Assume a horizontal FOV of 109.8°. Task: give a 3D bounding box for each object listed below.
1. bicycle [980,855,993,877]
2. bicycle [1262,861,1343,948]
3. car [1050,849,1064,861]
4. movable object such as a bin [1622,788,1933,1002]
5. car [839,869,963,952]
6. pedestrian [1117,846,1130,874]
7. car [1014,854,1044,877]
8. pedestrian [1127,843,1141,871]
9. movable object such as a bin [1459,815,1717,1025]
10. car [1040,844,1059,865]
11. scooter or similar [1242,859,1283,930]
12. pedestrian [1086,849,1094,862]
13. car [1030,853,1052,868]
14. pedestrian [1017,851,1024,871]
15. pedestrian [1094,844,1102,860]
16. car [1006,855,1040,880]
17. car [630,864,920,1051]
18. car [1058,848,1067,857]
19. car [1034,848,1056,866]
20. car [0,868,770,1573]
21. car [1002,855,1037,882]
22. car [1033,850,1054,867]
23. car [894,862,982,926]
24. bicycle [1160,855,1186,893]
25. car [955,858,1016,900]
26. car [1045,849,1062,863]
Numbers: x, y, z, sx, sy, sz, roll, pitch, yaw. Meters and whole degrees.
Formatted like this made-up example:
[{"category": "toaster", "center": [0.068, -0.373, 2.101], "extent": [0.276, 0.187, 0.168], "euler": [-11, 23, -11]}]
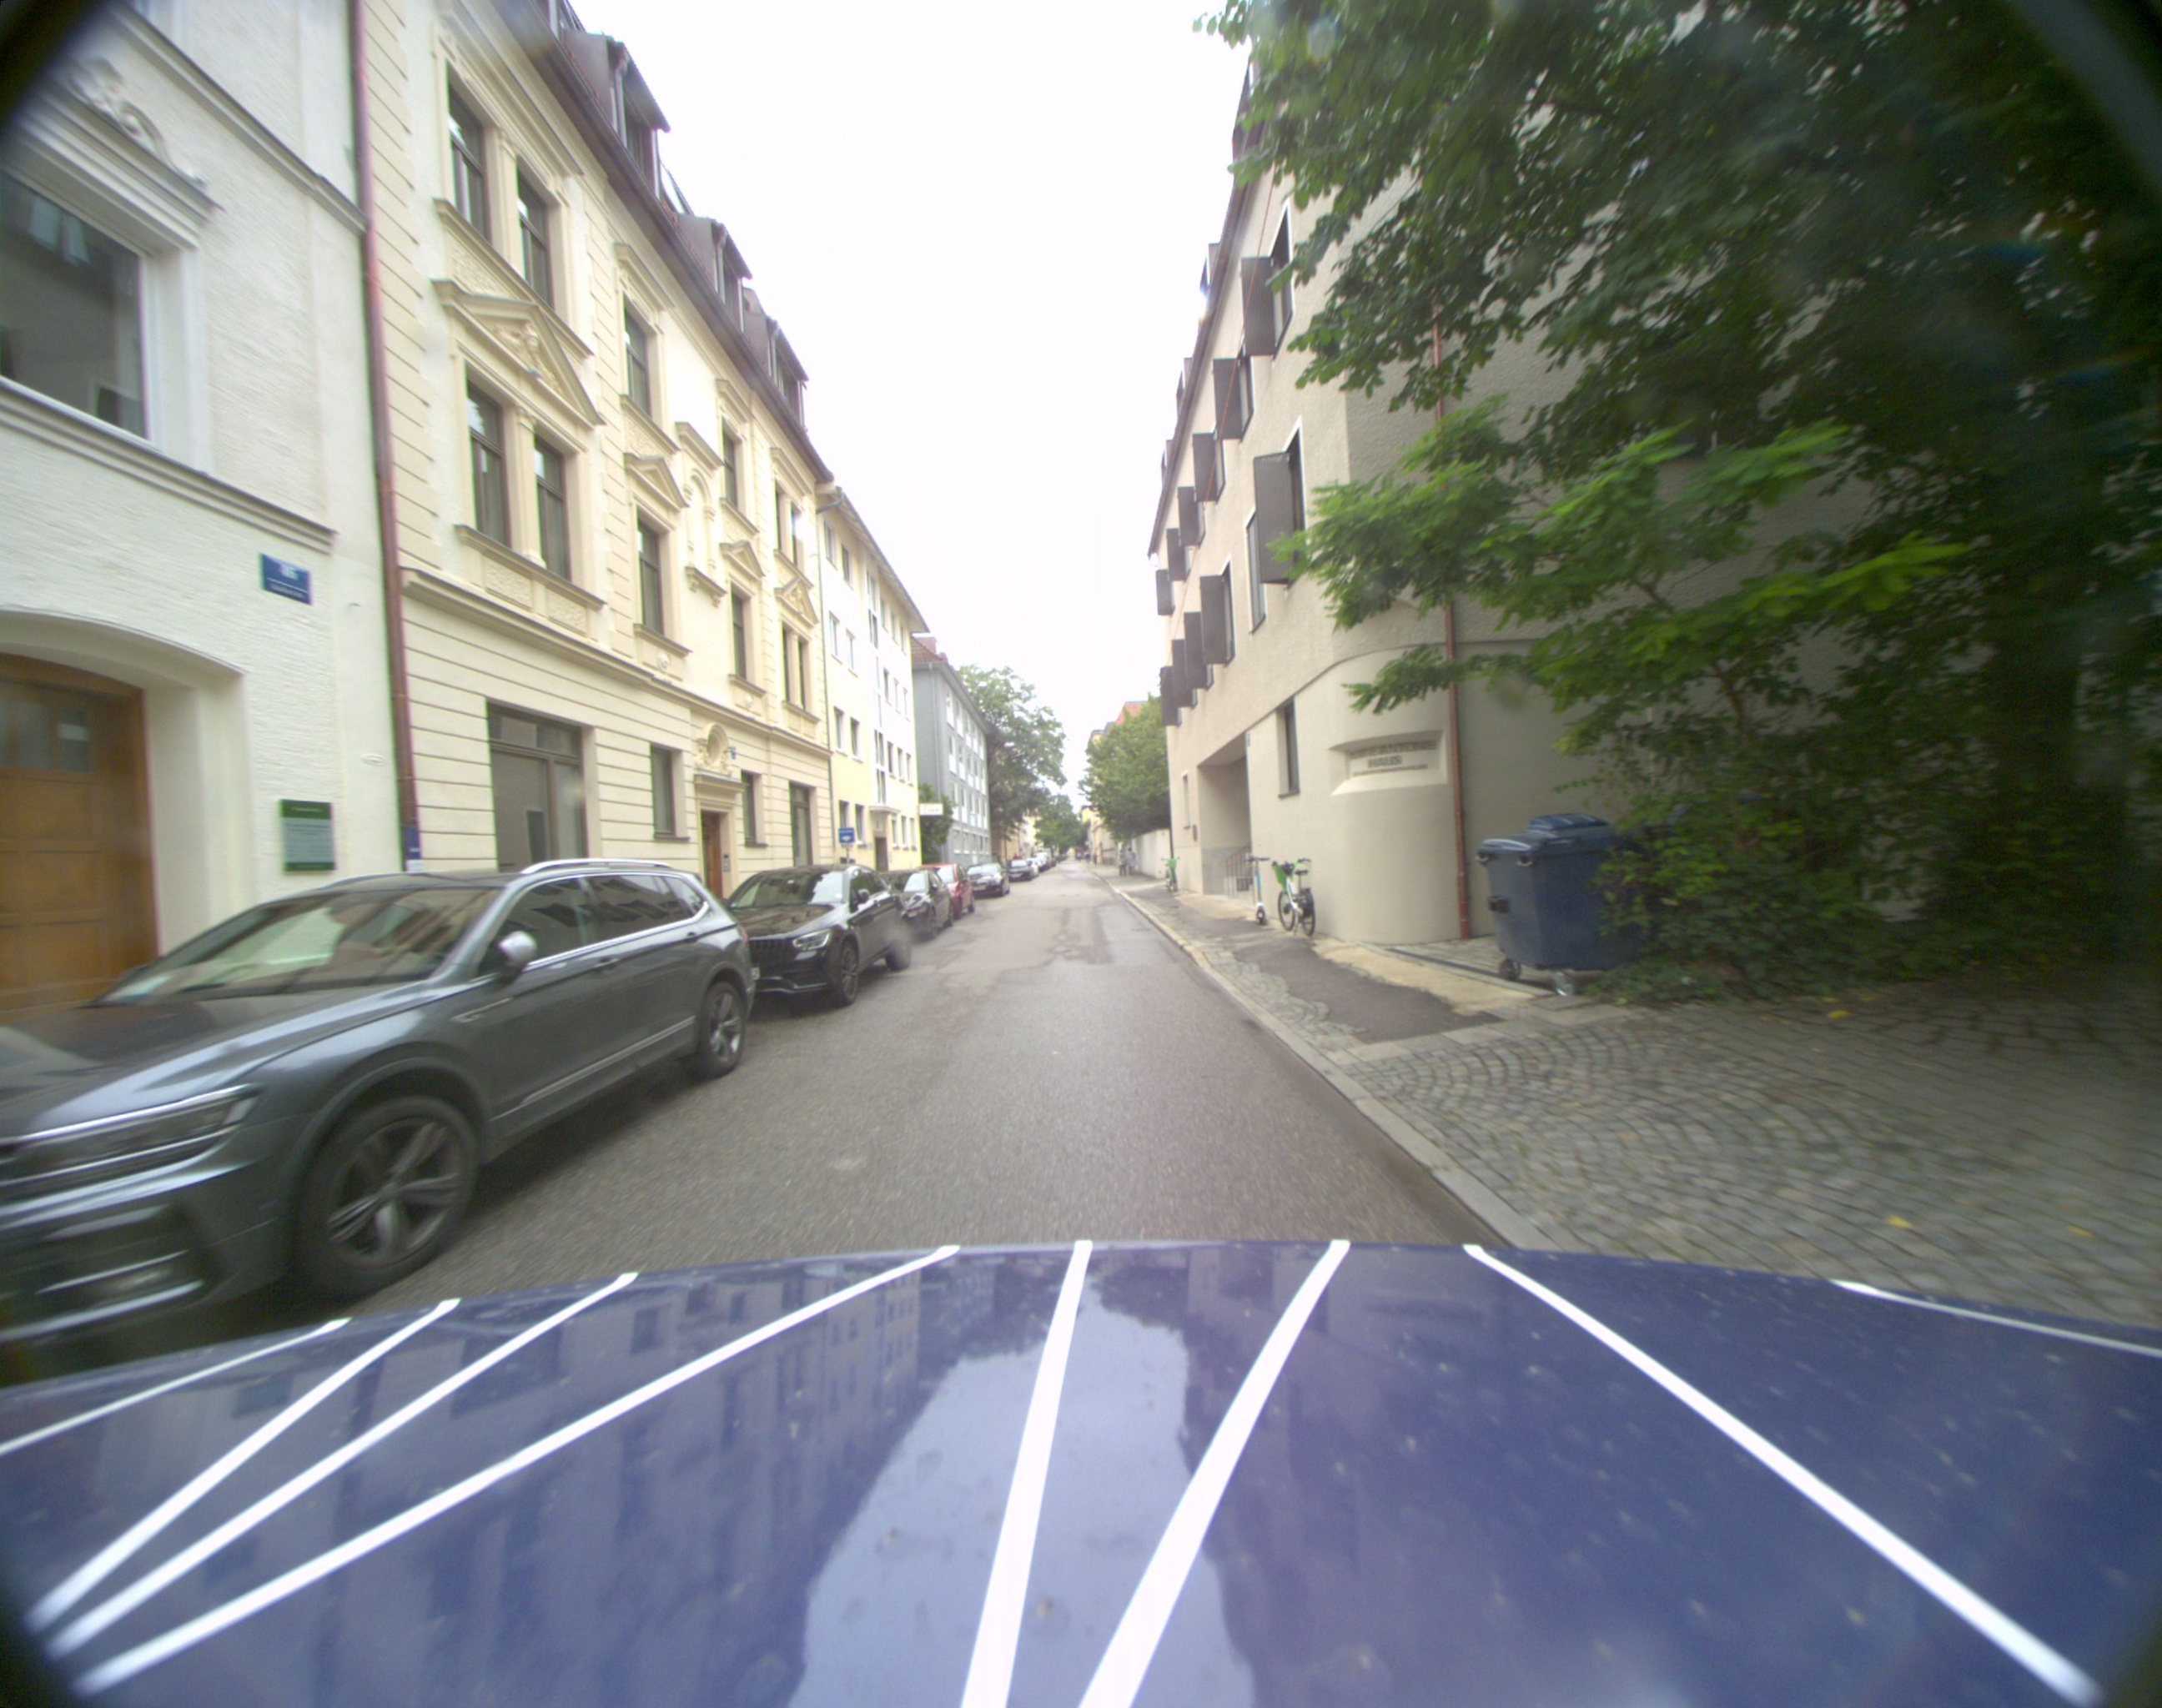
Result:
[{"category": "bicycle", "center": [-6.583, 0.851, 53.184], "extent": [0.516, 1.478, 2.279], "euler": [-3, 0, 0]}, {"category": "bicycle", "center": [3.347, 0.718, 11.660], "extent": [0.545, 1.154, 1.881], "euler": [-5, 1, -2]}, {"category": "car", "center": [-4.369, 0.186, 138.933], "extent": [2.014, 1.914, 5.089], "euler": [-7, 0, 1]}, {"category": "movable object such as a bin", "center": [5.481, 0.310, 6.120], "extent": [1.177, 1.397, 1.249], "euler": [-8, -1, 2]}, {"category": "car", "center": [-3.735, 1.127, 16.507], "extent": [1.680, 1.385, 4.065], "euler": [-3, 0, -1]}, {"category": "pedestrian", "center": [2.484, 0.346, 44.638], "extent": [0.624, 1.570, 0.714], "euler": [-4, 1, -1]}, {"category": "car", "center": [-3.962, 0.833, 58.078], "extent": [1.773, 1.437, 4.344], "euler": [-7, 0, 1]}, {"category": "pedestrian", "center": [3.117, 0.182, 44.680], "extent": [0.615, 1.612, 0.687], "euler": [-6, 1, 0]}, {"category": "movable object such as a bin", "center": [4.102, 0.502, 6.316], "extent": [1.177, 1.433, 1.249], "euler": [-8, -1, 6]}, {"category": "car", "center": [-4.163, 0.080, 102.367], "extent": [2.014, 2.479, 5.089], "euler": [-7, 0, 1]}, {"category": "scooter or similar", "center": [3.287, 0.706, 13.724], "extent": [0.553, 1.137, 1.359], "euler": [-5, 1, 16]}, {"category": "pedestrian", "center": [1.265, 0.247, 107.159], "extent": [0.920, 1.742, 1.066], "euler": [-3, 1, -1]}, {"category": "car", "center": [-4.069, 0.654, 77.932], "extent": [1.998, 1.306, 4.592], "euler": [-3, 0, 0]}, {"category": "pedestrian", "center": [-6.012, 0.725, 75.200], "extent": [0.581, 1.966, 0.455], "euler": [-4, 1, -1]}, {"category": "pedestrian", "center": [2.009, -0.240, 89.355], "extent": [0.766, 1.742, 0.970], "euler": [-3, 1, -1]}, {"category": "car", "center": [-4.006, 0.903, 53.017], "extent": [1.794, 1.393, 4.485], "euler": [-7, 0, 1]}, {"category": "car", "center": [-3.416, 1.021, 9.599], "extent": [1.706, 1.597, 4.684], "euler": [-3, 0, -1]}, {"category": "car", "center": [-4.869, -0.422, 199.876], "extent": [2.014, 1.969, 5.089], "euler": [-7, 0, 1]}, {"category": "car", "center": [-4.191, 0.325, 89.263], "extent": [1.998, 2.002, 5.063], "euler": [-3, 0, 2]}, {"category": "car", "center": [-3.487, 1.002, 4.130], "extent": [1.680, 1.651, 4.512], "euler": [-3, 0, -1]}, {"category": "car", "center": [-3.854, 0.876, 48.189], "extent": [1.846, 1.420, 4.263], "euler": [-7, 0, -2]}, {"category": "car", "center": [-4.074, 0.501, 83.246], "extent": [1.998, 1.677, 4.510], "euler": [-3, 0, 0]}, {"category": "car", "center": [-3.906, 1.029, 21.323], "extent": [1.680, 1.484, 3.853], "euler": [-3, 0, -1]}, {"category": "bicycle", "center": [3.046, 0.644, 25.299], "extent": [0.539, 1.132, 1.916], "euler": [-5, 1, -1]}, {"category": "car", "center": [-3.794, 0.960, 30.802], "extent": [1.830, 1.327, 4.508], "euler": [-7, 0, -1]}, {"category": "car", "center": [-4.152, 0.281, 115.788], "extent": [2.014, 1.989, 5.089], "euler": [-7, 0, 1]}]
